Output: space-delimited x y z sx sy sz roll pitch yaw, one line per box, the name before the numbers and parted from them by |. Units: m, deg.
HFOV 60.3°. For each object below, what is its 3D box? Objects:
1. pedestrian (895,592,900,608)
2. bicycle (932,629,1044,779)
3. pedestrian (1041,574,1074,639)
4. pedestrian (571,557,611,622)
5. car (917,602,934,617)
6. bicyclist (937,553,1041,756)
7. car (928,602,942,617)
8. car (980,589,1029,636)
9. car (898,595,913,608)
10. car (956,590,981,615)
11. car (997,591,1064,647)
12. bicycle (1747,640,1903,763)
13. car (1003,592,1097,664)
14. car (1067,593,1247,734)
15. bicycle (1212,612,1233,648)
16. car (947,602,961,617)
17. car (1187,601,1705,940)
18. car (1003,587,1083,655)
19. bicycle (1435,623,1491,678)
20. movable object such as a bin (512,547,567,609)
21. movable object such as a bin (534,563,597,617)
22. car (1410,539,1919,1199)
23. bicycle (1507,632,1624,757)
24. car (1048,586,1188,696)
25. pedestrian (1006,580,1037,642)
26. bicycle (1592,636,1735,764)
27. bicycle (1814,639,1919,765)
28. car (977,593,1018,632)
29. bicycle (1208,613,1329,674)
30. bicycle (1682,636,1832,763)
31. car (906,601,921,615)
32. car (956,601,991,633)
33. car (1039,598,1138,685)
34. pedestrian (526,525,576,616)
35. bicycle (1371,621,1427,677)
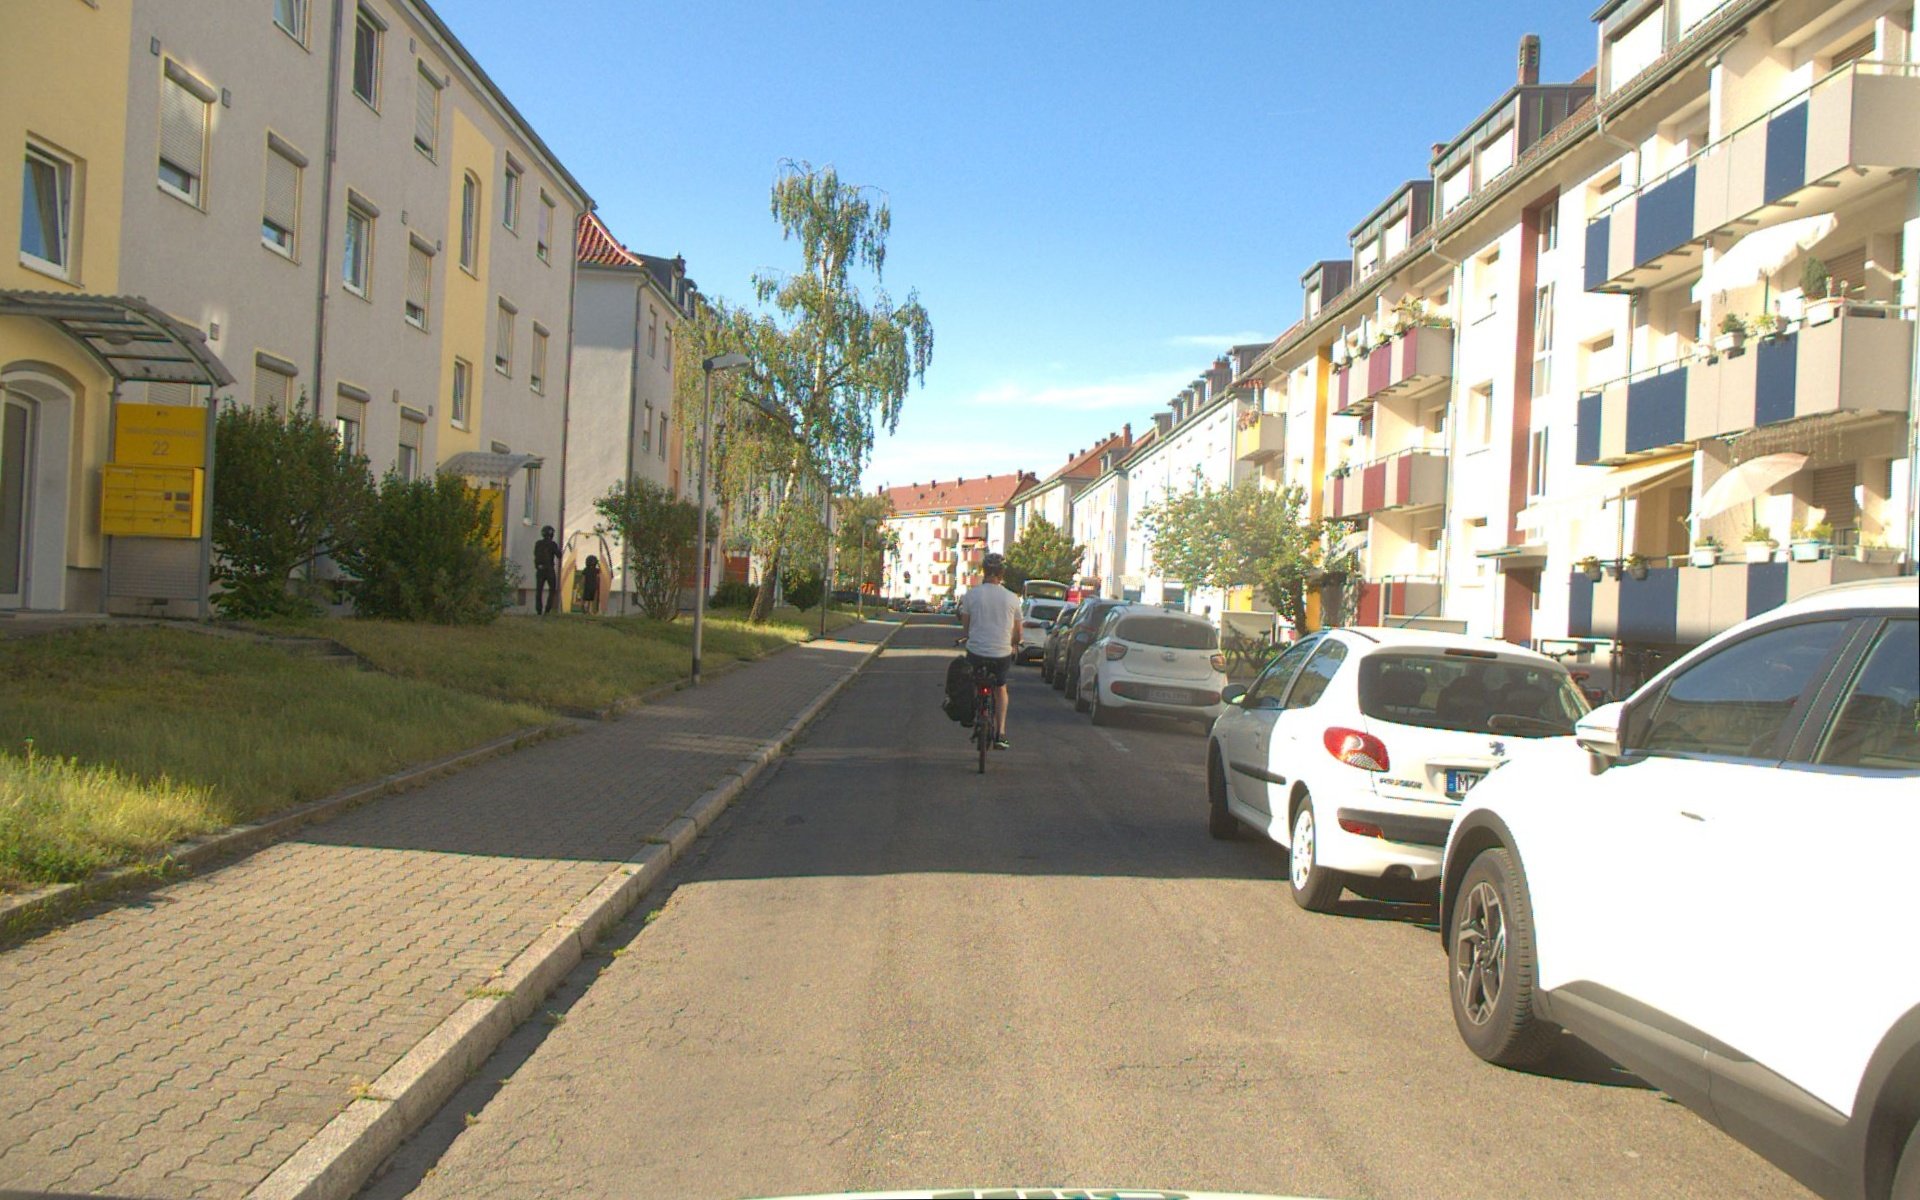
pedestrian | -5.948 0.001 158.623 0.425 1.602 0.543 2 0 -1
bicycle | 0.213 0.857 14.429 0.792 1.148 2.100 2 0 -3
pedestrian | 2.601 0.172 44.045 0.803 1.717 0.604 1 0 -2
pedestrian | -7.851 -0.219 35.182 0.672 1.340 0.575 2 0 -1
car | -3.391 0.920 162.457 1.440 1.358 3.139 4 0 -3
bicyclist | 0.235 0.454 14.239 0.792 1.672 0.898 2 0 -3
car | -2.887 1.072 191.664 1.440 1.542 3.075 4 0 -3
car | 1.744 0.485 65.860 1.747 1.676 4.468 4 0 0
car | -5.711 0.162 173.502 1.440 1.358 3.138 -1 0 -5
car | 0.618 0.176 129.656 1.641 1.769 3.940 4 0 -3
car | 2.144 0.554 51.216 1.660 1.517 3.983 4 0 -2
bicycle | 8.632 0.979 16.584 0.527 1.101 1.872 0 0 -2
car | 2.114 0.637 39.971 1.737 1.531 4.478 3 0 -3
car | 2.499 0.757 21.843 1.679 1.535 3.852 6 0 -2
bicycle | 8.194 0.929 51.653 0.395 1.106 1.299 1 0 0
car | -0.651 0.990 178.954 1.354 1.523 3.075 2 0 -3
car | 2.568 0.805 9.814 1.657 1.443 4.096 5 0 -2
car | 2.241 0.543 45.789 1.953 1.640 4.996 4 0 1
bicycle | 10.303 1.025 33.917 0.510 1.055 1.975 1 0 -1
movable object such as a bin | -10.345 -0.538 40.722 1.062 1.430 0.812 3 0 -1
movable object such as a bin | -10.814 -0.266 45.437 1.360 1.359 1.228 4 0 -2
car | 2.745 0.747 4.154 1.765 1.620 4.580 4 0 -2
bicycle | 6.288 0.954 17.277 0.533 1.191 1.873 1 0 0
car | 2.482 0.605 26.957 1.688 1.606 4.351 2 0 -2
pedestrian | 1.617 0.290 43.872 0.724 1.602 0.879 2 0 -1
bicycle | 6.998 0.963 16.549 0.566 1.152 1.872 1 0 -2
bicycle | 9.345 0.990 16.543 0.584 1.135 1.872 0 0 -2
car | 1.584 0.514 70.955 1.608 1.524 4.156 2 0 0
bicycle | 6.402 0.895 34.390 2.373 1.149 0.880 2 0 5
bicycle | 7.931 0.961 16.539 0.532 1.140 1.872 1 0 -2
car | -4.661 0.755 166.856 1.440 1.358 3.139 1 0 -3
car | 0.752 0.952 95.377 1.824 1.697 4.126 5 0 -1
car | 2.440 0.757 32.197 1.613 1.474 4.061 4 0 1
pedestrian | -8.569 -0.607 34.678 0.789 1.855 0.718 2 0 -1
bicycle | 9.013 0.987 34.016 0.510 1.067 2.288 0 0 -1
